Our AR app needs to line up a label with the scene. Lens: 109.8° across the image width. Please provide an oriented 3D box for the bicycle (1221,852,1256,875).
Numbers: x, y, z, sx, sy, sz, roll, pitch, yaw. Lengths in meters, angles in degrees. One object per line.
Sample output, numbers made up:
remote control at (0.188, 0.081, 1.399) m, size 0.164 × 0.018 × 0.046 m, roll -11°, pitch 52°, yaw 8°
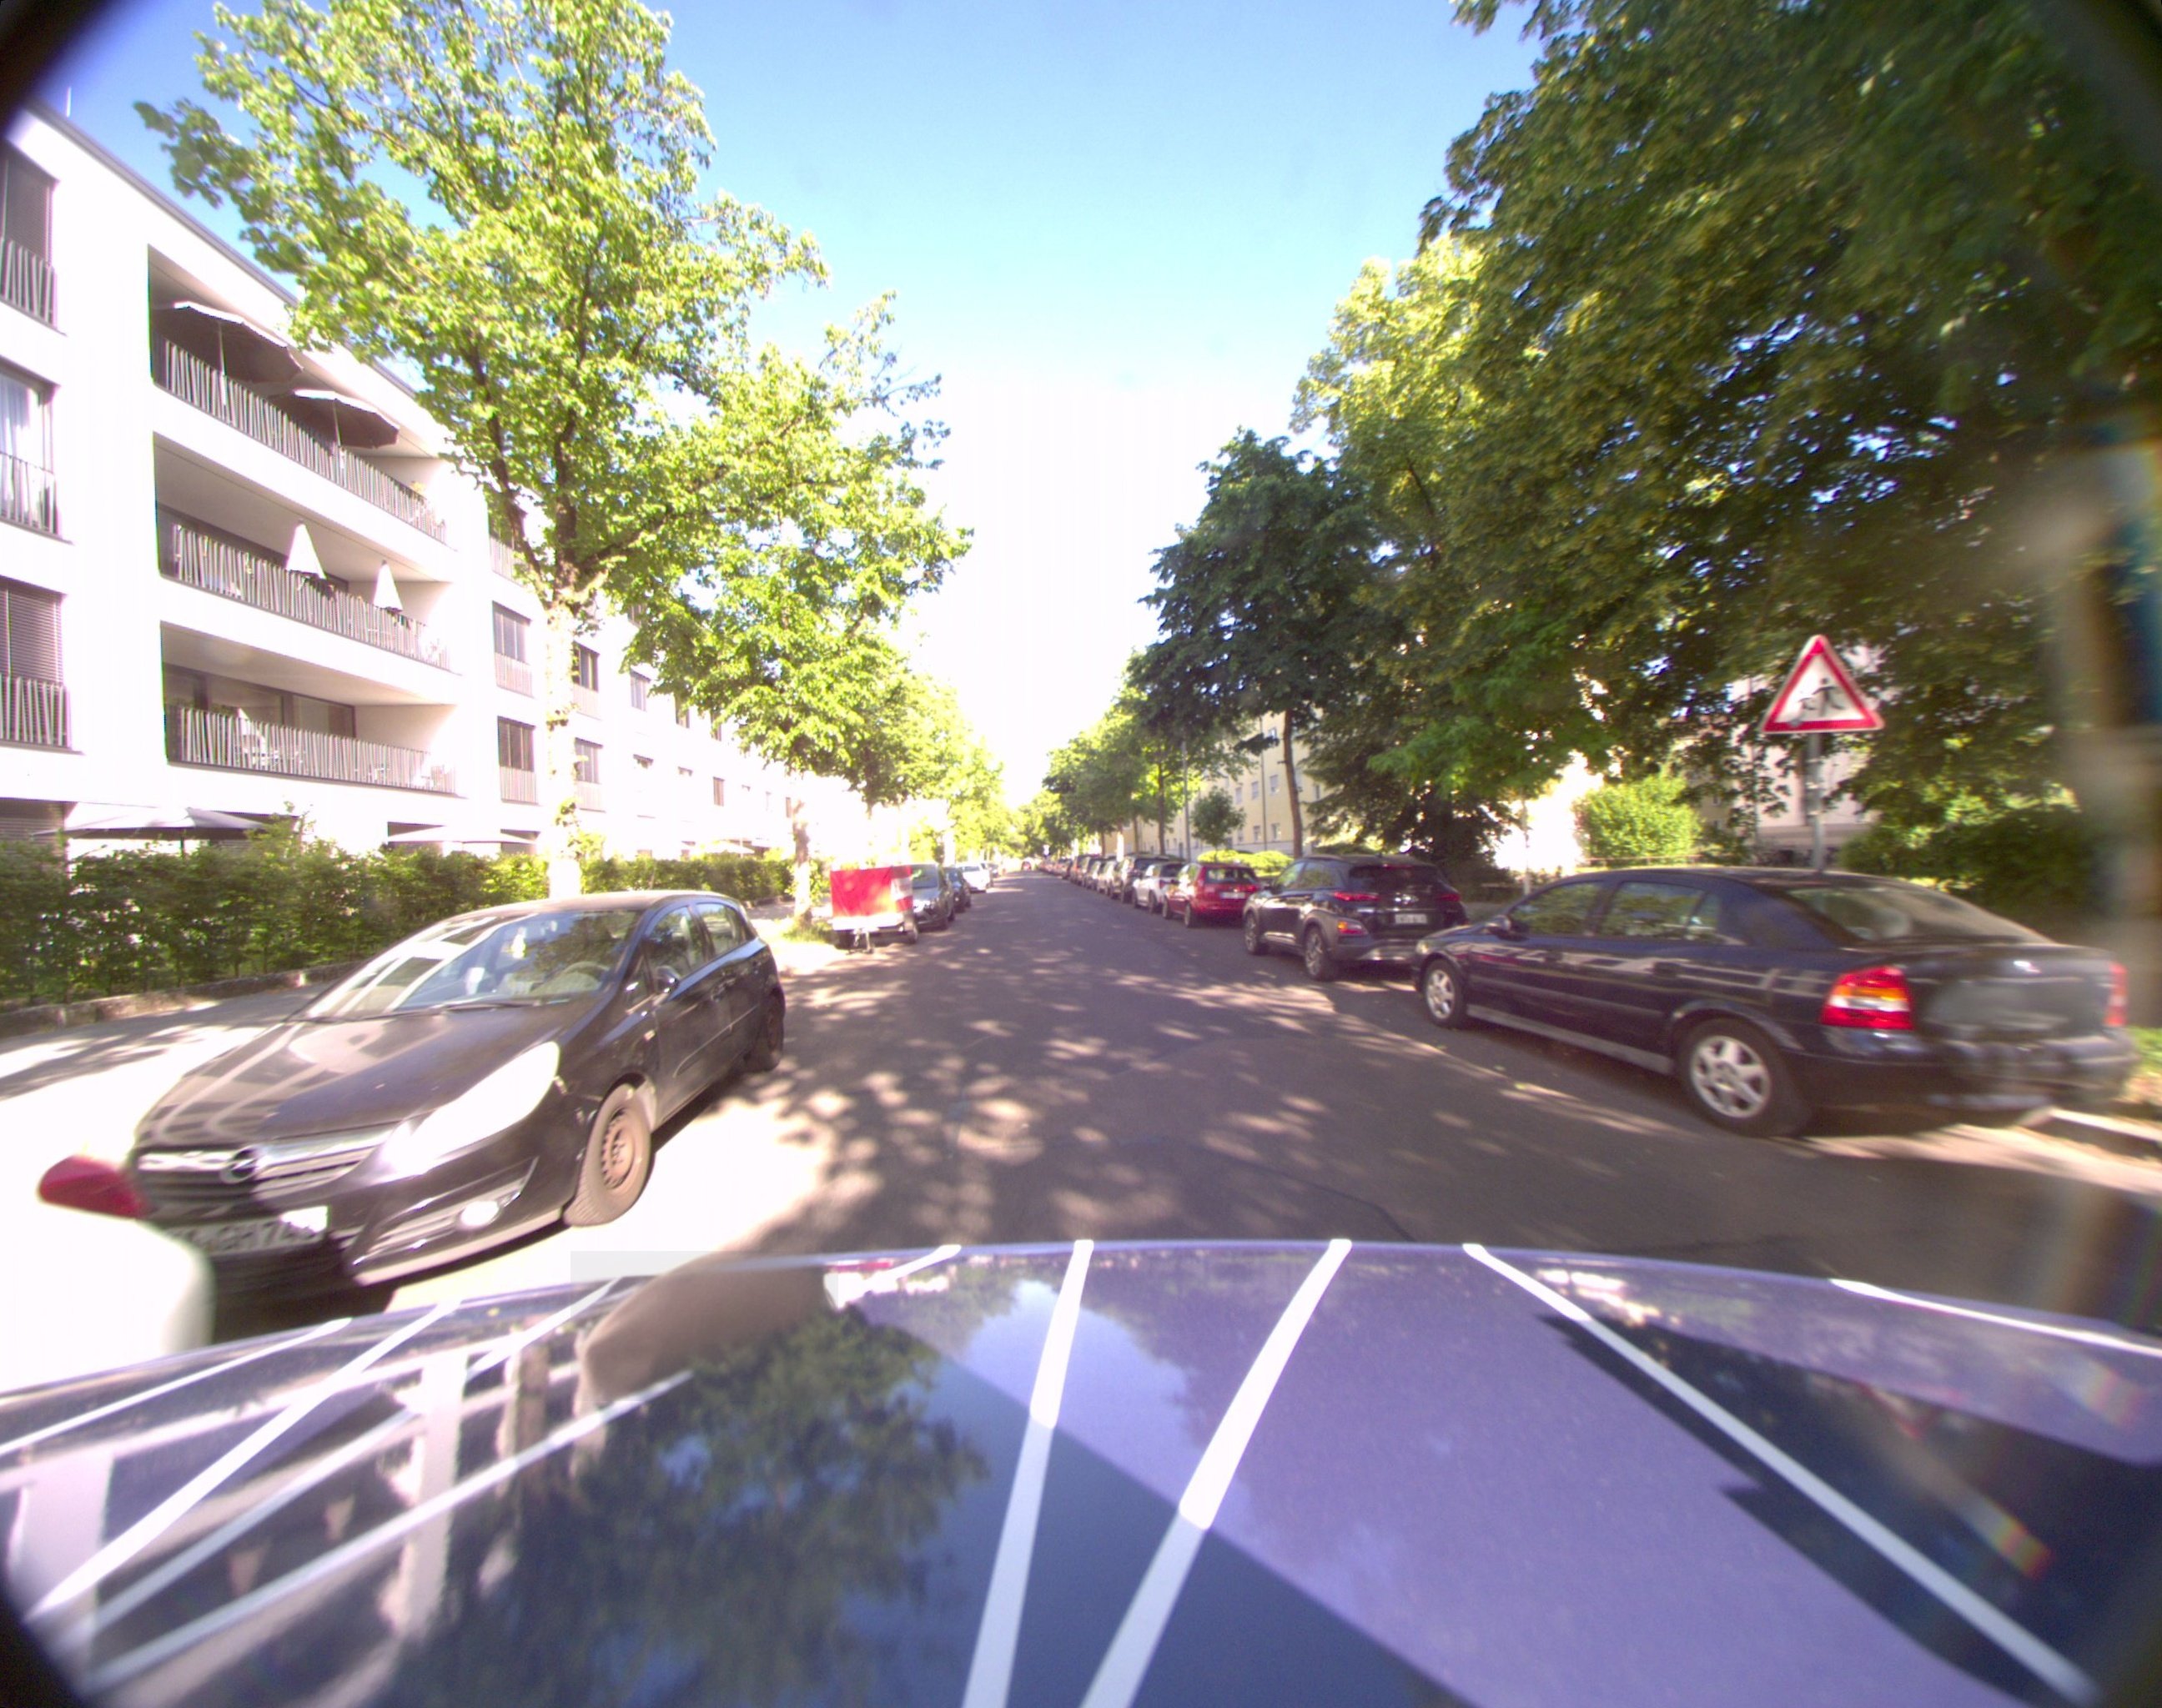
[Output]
bicycle at (9.007, 0.523, 43.524) m, size 1.826 × 1.218 × 0.517 m, roll -3°, pitch 1°, yaw -4°

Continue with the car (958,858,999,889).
car at (-6.103, 1.107, 45.698) m, size 1.902 × 1.638 × 4.860 m, roll -3°, pitch 0°, yaw -3°

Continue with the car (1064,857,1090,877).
car at (-0.355, 1.005, 59.657) m, size 1.780 × 1.462 × 4.062 m, roll 0°, pitch 0°, yaw -5°

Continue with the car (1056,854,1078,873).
car at (-1.345, 0.894, 71.317) m, size 1.865 × 1.718 × 3.999 m, roll 0°, pitch 0°, yaw -4°

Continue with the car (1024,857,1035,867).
car at (-8.253, 1.240, 122.145) m, size 1.666 × 1.456 × 3.446 m, roll -1°, pitch 0°, yaw -3°

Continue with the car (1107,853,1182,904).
car at (2.184, 0.814, 27.730) m, size 1.847 × 1.647 × 5.085 m, roll -1°, pitch 0°, yaw -5°

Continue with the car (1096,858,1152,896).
car at (1.781, 0.955, 33.016) m, size 1.711 × 1.472 × 4.487 m, roll -1°, pitch 0°, yaw -6°

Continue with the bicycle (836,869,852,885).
bicycle at (-14.549, 1.388, 46.609) m, size 0.564 × 0.889 × 1.609 m, roll -2°, pitch 0°, yaw -4°

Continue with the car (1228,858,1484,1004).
car at (3.503, 0.867, 10.696) m, size 1.711 × 1.568 × 4.480 m, roll -1°, pitch 0°, yaw -4°

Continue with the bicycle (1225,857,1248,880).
bicycle at (7.679, 0.697, 37.541) m, size 0.574 × 1.055 × 1.932 m, roll -3°, pitch 0°, yaw -4°

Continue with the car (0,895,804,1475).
car at (-3.063, 1.131, 4.418) m, size 1.675 × 1.442 × 4.176 m, roll -4°, pitch 0°, yaw -6°

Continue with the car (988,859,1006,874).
car at (-8.553, 1.294, 77.410) m, size 1.671 × 1.456 × 3.535 m, roll -1°, pitch 0°, yaw -3°

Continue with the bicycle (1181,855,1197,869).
bicycle at (7.162, 0.543, 50.280) m, size 0.596 × 0.911 × 1.902 m, roll -1°, pitch 0°, yaw -6°

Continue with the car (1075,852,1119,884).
car at (0.870, 0.781, 43.698) m, size 1.799 × 1.676 × 4.523 m, roll -1°, pitch 0°, yaw -8°

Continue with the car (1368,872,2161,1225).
car at (4.028, 0.873, 5.511) m, size 1.790 × 1.344 × 4.479 m, roll -1°, pitch 0°, yaw -6°

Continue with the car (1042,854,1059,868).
car at (-4.117, 0.943, 101.841) m, size 1.892 × 1.797 × 3.912 m, roll -2°, pitch 0°, yaw -9°

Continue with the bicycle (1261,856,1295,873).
bicycle at (11.291, 0.589, 43.559) m, size 1.714 × 0.864 × 0.585 m, roll -3°, pitch 1°, yaw -4°

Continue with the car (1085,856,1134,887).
car at (1.359, 0.826, 38.019) m, size 1.799 × 1.443 × 4.487 m, roll -1°, pitch 0°, yaw -6°

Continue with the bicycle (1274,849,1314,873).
bicycle at (11.739, 0.386, 41.851) m, size 1.958 × 1.218 × 0.776 m, roll -3°, pitch 1°, yaw -7°

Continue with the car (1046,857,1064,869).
car at (-3.327, 1.110, 96.449) m, size 1.806 × 1.470 × 3.997 m, roll -2°, pitch 0°, yaw -8°

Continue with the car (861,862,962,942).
car at (-4.170, 1.096, 19.442) m, size 1.797 × 1.633 × 4.816 m, roll -4°, pitch 0°, yaw -5°

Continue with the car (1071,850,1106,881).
car at (0.427, 0.730, 48.939) m, size 1.799 × 1.839 × 4.864 m, roll -1°, pitch 0°, yaw -5°

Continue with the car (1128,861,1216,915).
car at (2.579, 0.930, 22.469) m, size 1.659 × 1.365 × 4.187 m, roll -1°, pitch 0°, yaw -6°

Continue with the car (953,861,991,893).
car at (-5.733, 1.154, 39.899) m, size 1.787 × 1.509 × 4.684 m, roll -3°, pitch 0°, yaw -9°

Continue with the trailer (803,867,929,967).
trailer at (-4.058, 1.129, 14.834) m, size 1.579 × 1.569 × 3.191 m, roll -4°, pitch 0°, yaw -3°

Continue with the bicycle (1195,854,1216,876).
bicycle at (7.205, 0.625, 44.178) m, size 0.596 × 1.183 × 2.260 m, roll -1°, pitch 0°, yaw -6°

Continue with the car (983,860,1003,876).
car at (-8.415, 1.286, 72.626) m, size 1.671 × 1.456 × 3.535 m, roll -1°, pitch 0°, yaw -3°

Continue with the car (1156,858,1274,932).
car at (3.006, 0.862, 17.944) m, size 1.659 × 1.496 × 4.066 m, roll -1°, pitch 0°, yaw -6°

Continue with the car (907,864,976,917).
car at (-4.605, 1.155, 25.601) m, size 1.723 × 1.507 × 4.343 m, roll -3°, pitch 0°, yaw -4°

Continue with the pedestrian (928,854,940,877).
pedestrian at (-13.106, 1.028, 67.873) m, size 0.908 × 2.002 × 1.005 m, roll -1°, pitch 0°, yaw -4°

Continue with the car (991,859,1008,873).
car at (-8.876, 1.259, 82.876) m, size 1.671 × 1.456 × 3.672 m, roll -1°, pitch 0°, yaw -3°
